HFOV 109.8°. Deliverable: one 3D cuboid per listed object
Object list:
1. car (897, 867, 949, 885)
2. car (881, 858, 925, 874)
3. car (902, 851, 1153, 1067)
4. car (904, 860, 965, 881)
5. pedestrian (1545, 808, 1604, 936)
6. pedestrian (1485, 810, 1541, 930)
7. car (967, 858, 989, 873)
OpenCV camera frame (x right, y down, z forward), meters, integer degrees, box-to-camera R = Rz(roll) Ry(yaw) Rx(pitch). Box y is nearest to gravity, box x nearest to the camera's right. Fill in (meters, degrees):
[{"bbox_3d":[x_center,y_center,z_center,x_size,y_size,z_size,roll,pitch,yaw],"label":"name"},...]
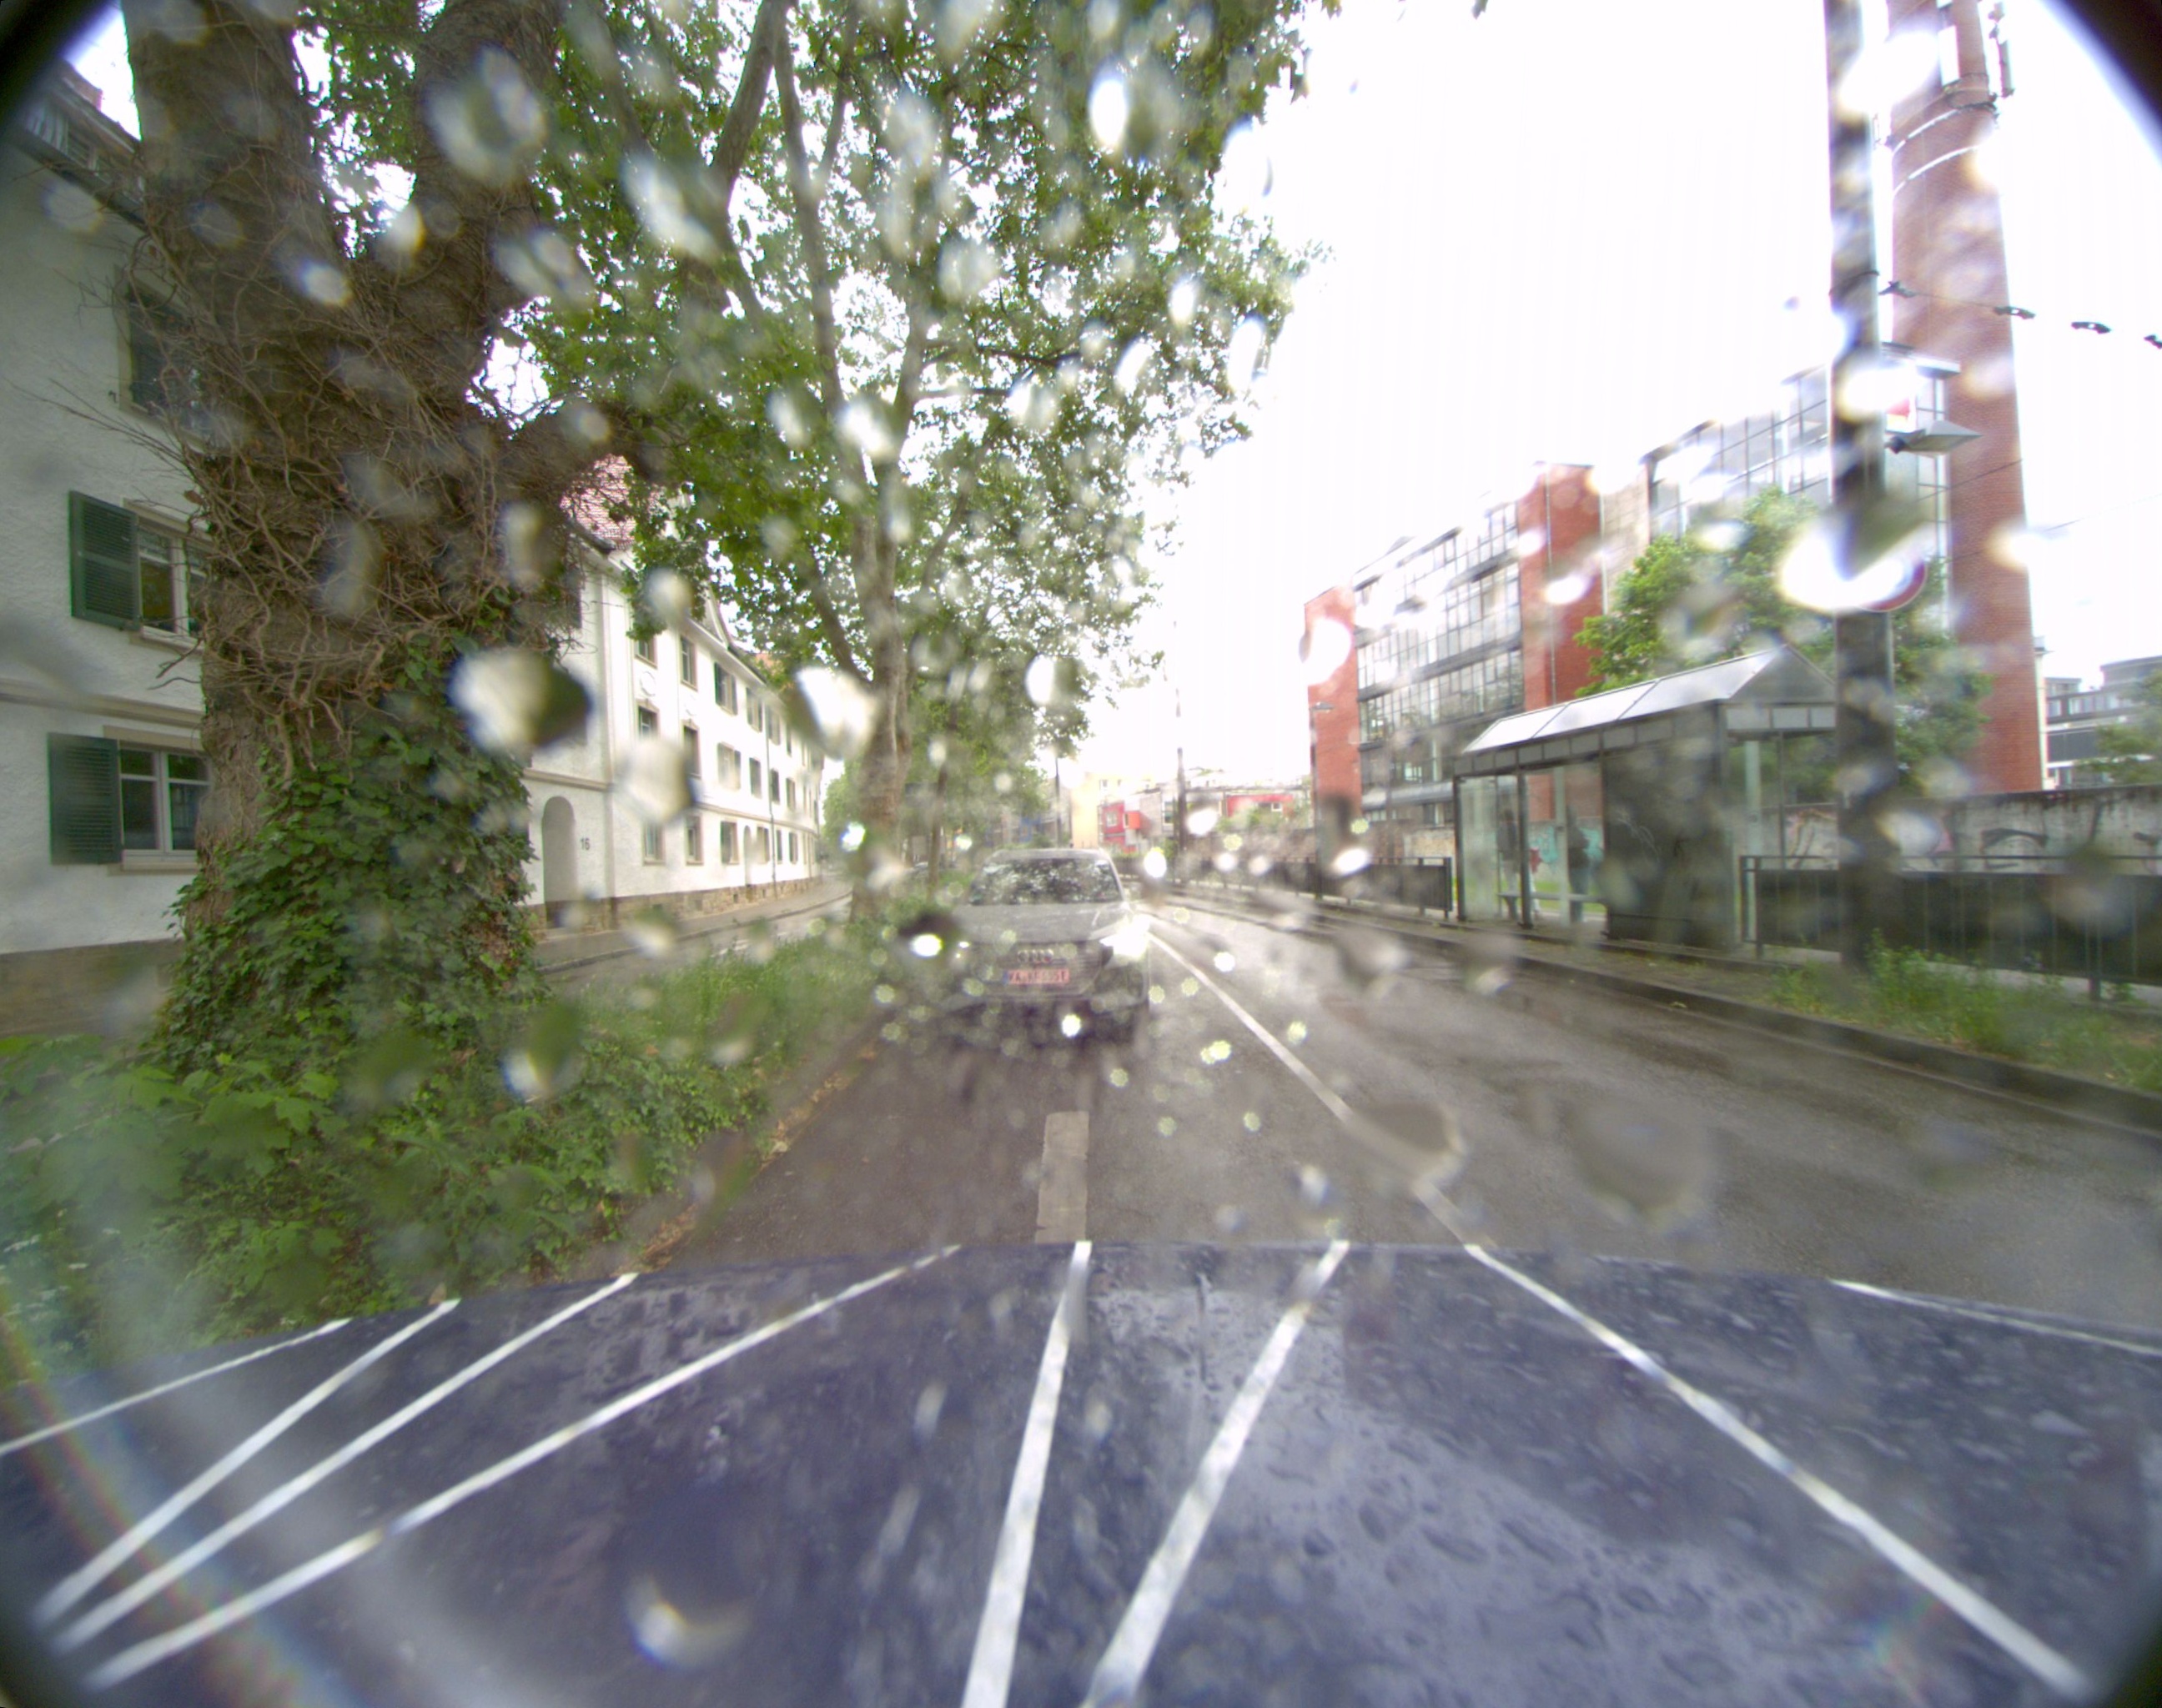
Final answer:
[{"bbox_3d":[-14.604,2.036,70.229,4.328,1.603,1.749,-1,0,6],"label":"car"},{"bbox_3d":[-22.213,1.498,94.726,4.884,2.002,2.002,-1,0,11],"label":"car"},{"bbox_3d":[-0.281,0.796,7.826,1.850,1.586,4.217,-2,0,3],"label":"car"},{"bbox_3d":[-11.486,1.279,59.635,4.224,1.532,1.932,-1,0,11],"label":"car"},{"bbox_3d":[6.879,0.237,10.591,0.584,1.721,0.566,-1,1,-43],"label":"pedestrian"},{"bbox_3d":[6.432,0.226,11.311,0.584,1.721,0.566,-1,1,-41],"label":"pedestrian"},{"bbox_3d":[-11.869,1.299,87.143,1.694,1.713,3.685,-1,0,-20],"label":"car"}]
